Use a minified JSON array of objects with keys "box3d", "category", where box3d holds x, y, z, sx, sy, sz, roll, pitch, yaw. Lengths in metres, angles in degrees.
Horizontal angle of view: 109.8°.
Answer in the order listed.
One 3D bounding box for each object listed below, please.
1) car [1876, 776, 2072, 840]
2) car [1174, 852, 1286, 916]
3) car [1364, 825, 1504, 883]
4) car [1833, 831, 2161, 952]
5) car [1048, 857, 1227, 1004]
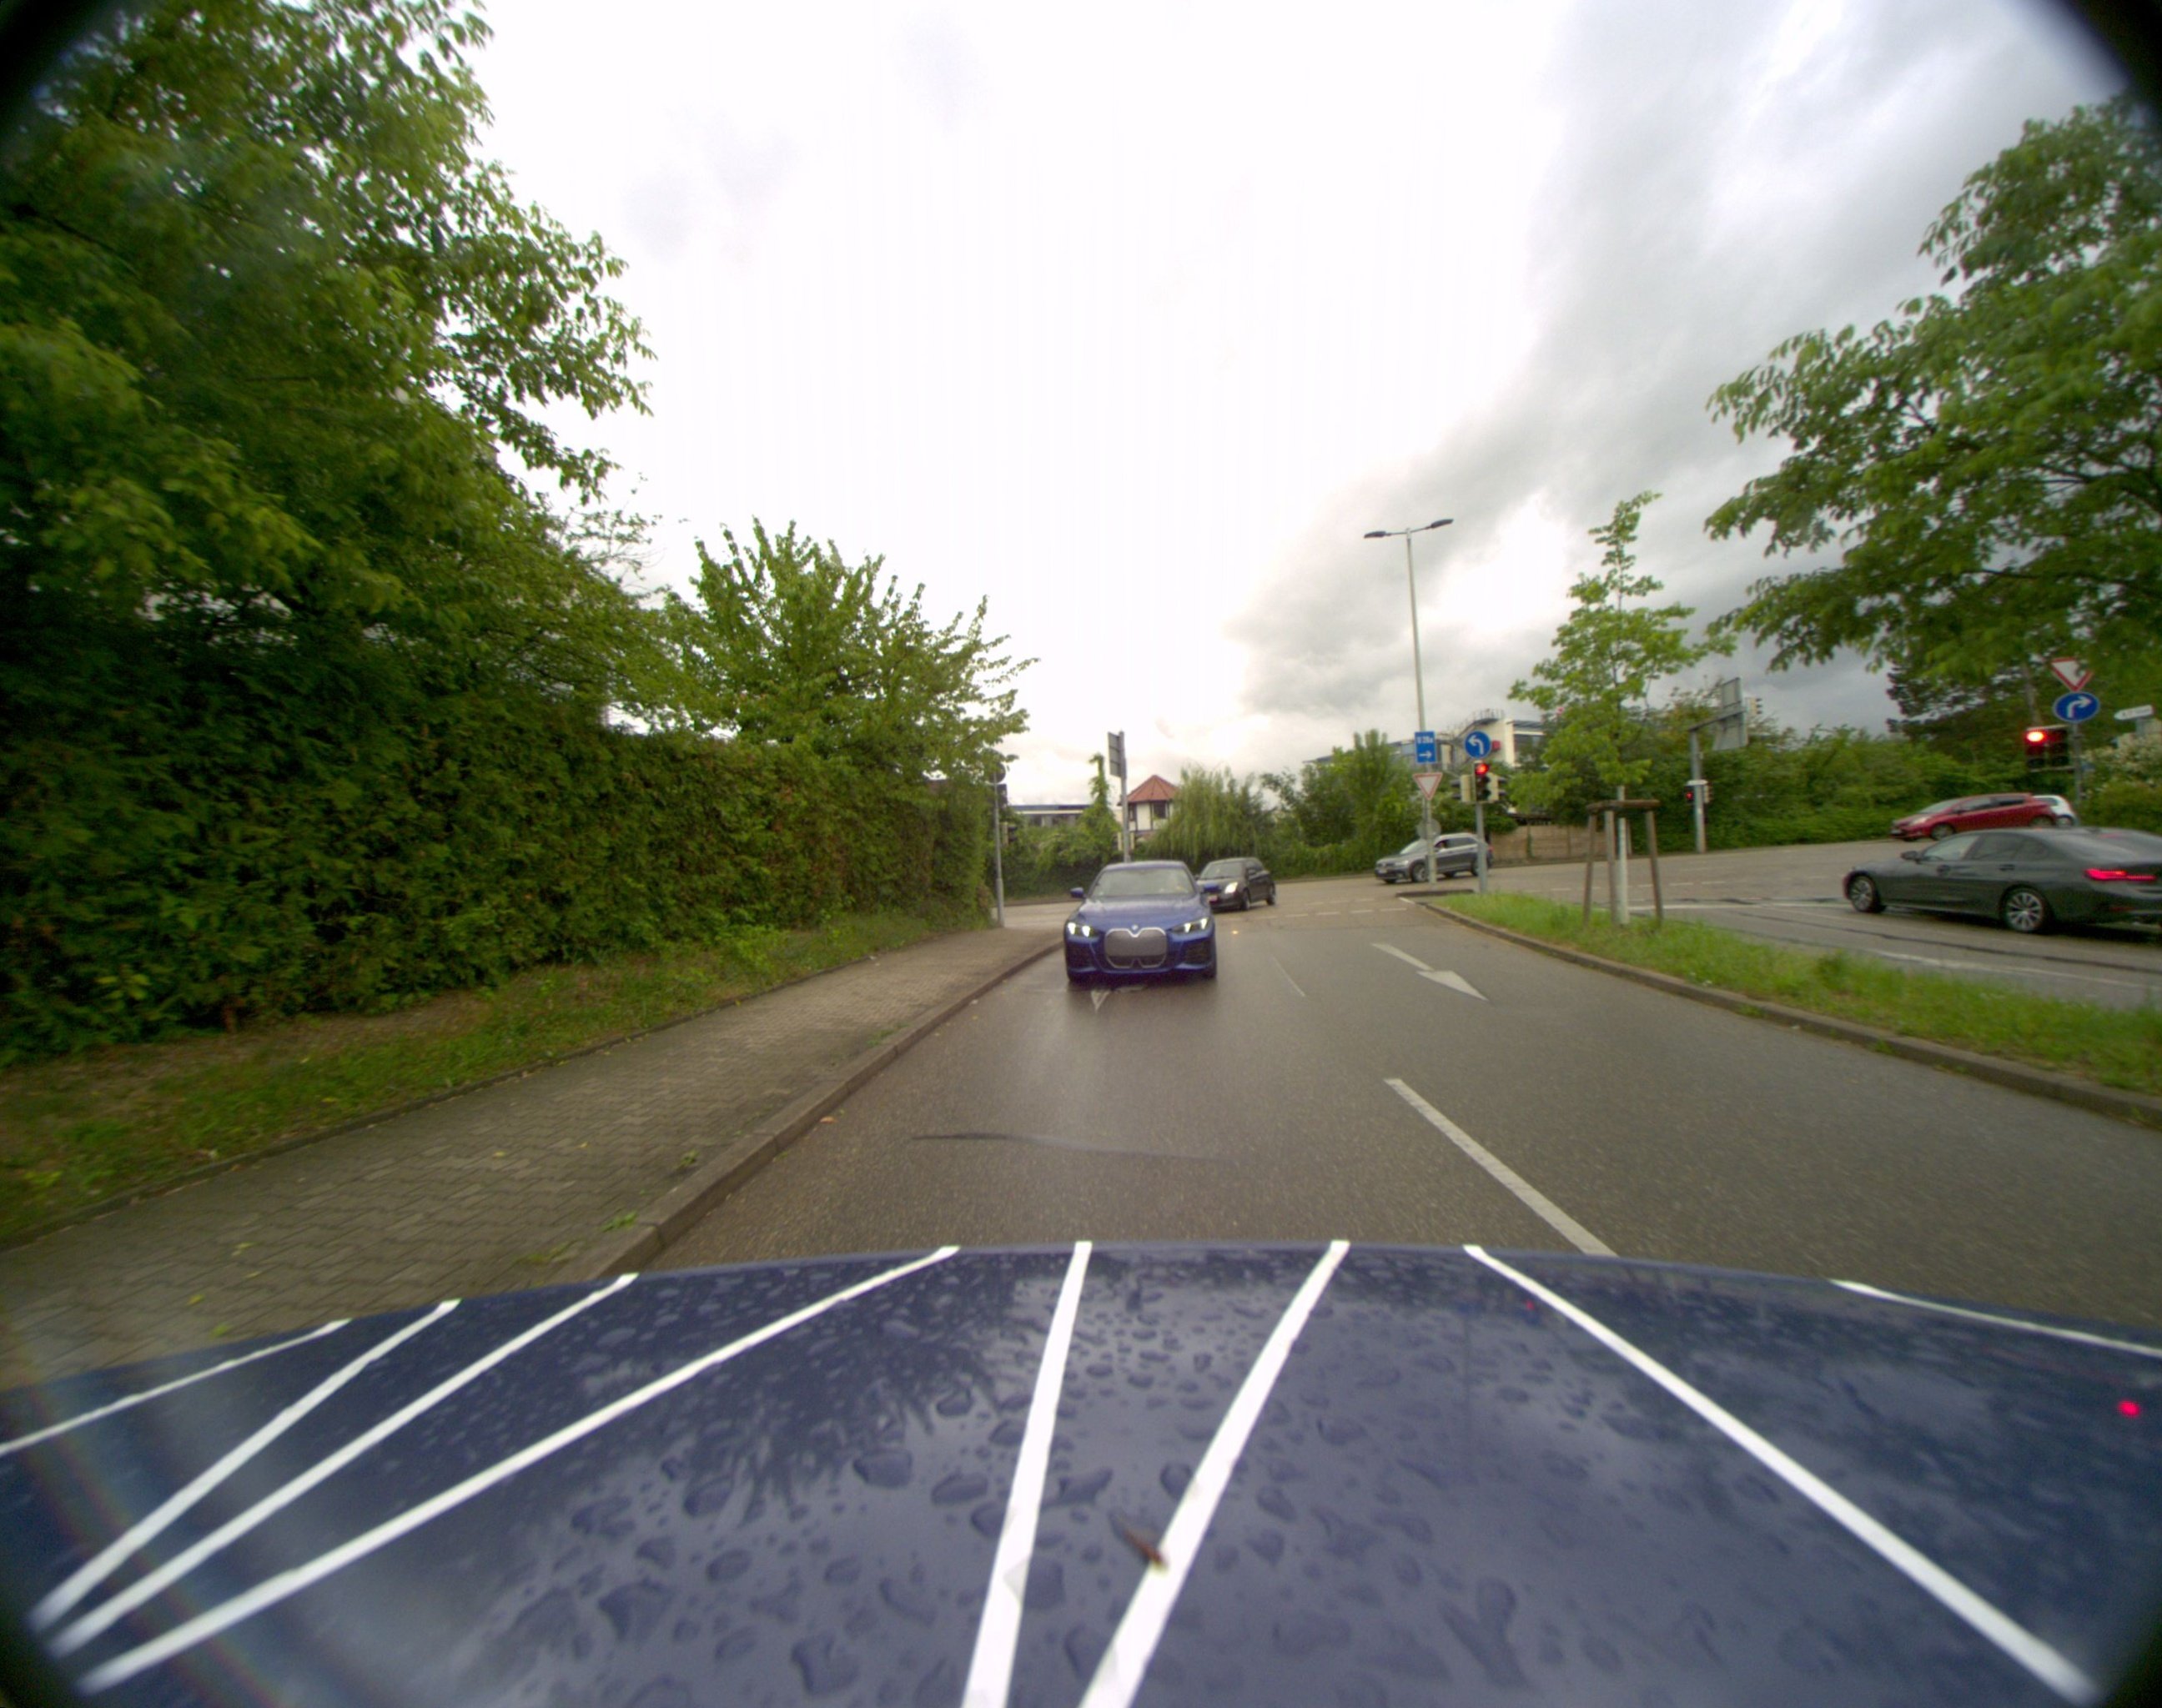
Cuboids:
[{"box3d":[31.374,-1.549,26.869,3.992,1.715,1.872,-6,-1,20],"category":"car"},{"box3d":[4.441,0.817,22.151,1.743,1.510,4.007,-6,-2,32],"category":"car"},{"box3d":[13.187,0.025,28.501,4.308,1.739,1.967,-5,-1,-12],"category":"car"},{"box3d":[13.801,0.445,11.091,1.996,1.429,4.553,-1,0,15],"category":"car"},{"box3d":[0.874,0.878,10.682,1.912,1.487,4.350,-3,0,7],"category":"car"}]
